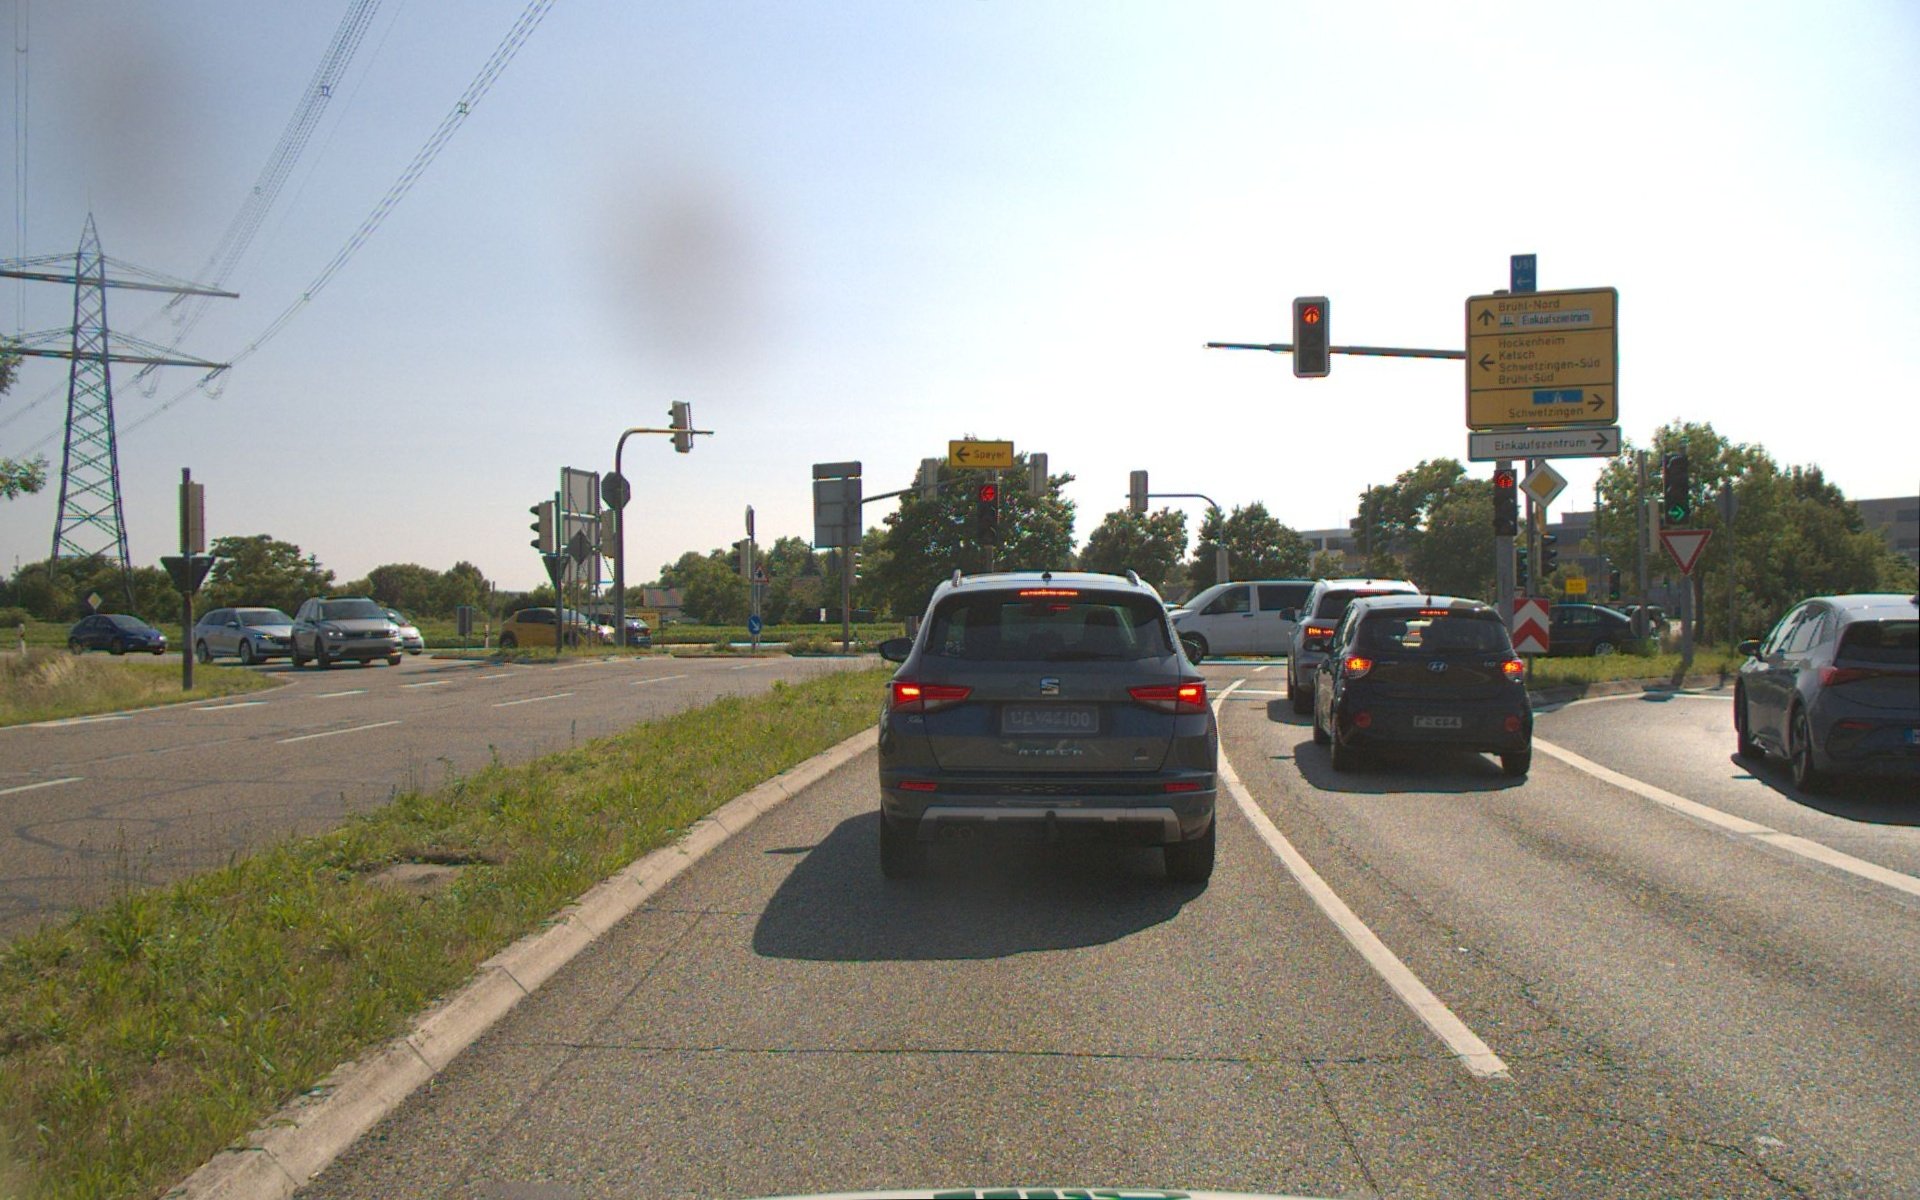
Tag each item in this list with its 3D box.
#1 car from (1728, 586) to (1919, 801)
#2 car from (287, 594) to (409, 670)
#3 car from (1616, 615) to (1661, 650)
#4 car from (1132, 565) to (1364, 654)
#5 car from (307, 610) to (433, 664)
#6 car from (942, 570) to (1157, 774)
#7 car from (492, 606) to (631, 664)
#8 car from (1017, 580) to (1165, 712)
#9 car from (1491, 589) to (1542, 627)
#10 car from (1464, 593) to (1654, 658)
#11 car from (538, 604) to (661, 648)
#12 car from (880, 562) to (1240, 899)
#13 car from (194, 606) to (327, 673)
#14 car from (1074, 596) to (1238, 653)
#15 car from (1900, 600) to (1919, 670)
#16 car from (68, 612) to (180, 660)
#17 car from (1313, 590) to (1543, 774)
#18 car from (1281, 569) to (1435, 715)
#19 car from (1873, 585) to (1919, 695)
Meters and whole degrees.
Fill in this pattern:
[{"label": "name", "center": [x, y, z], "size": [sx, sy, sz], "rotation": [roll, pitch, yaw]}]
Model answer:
[{"label": "car", "center": [7.832, 0.676, 14.063], "size": [1.735, 1.544, 4.102], "rotation": [1, 1, 16]}, {"label": "car", "center": [-14.527, 0.733, 39.156], "size": [1.799, 1.680, 3.951], "rotation": [0, 0, -35]}, {"label": "car", "center": [34.766, 1.661, 84.710], "size": [1.840, 1.702, 3.766], "rotation": [1, 0, 27]}, {"label": "car", "center": [6.544, 0.212, 37.787], "size": [4.840, 1.951, 1.996], "rotation": [1, 1, -9]}, {"label": "car", "center": [-19.427, 1.201, 54.430], "size": [3.912, 1.680, 1.817], "rotation": [-1, 0, 30]}, {"label": "car", "center": [0.794, 0.582, 15.114], "size": [1.706, 1.596, 3.625], "rotation": [1, 0, 2]}, {"label": "car", "center": [-12.022, 1.048, 49.872], "size": [3.912, 1.680, 1.817], "rotation": [-1, 0, 30]}, {"label": "car", "center": [1.746, 0.549, 21.220], "size": [1.705, 1.510, 3.627], "rotation": [1, 0, 7]}, {"label": "car", "center": [27.783, 0.417, 82.471], "size": [1.684, 1.851, 3.770], "rotation": [1, 0, 30]}, {"label": "car", "center": [14.919, 0.629, 41.225], "size": [4.238, 1.545, 1.805], "rotation": [-1, 0, 28]}, {"label": "car", "center": [-12.408, 0.884, 56.871], "size": [4.012, 1.441, 1.714], "rotation": [0, 0, 28]}, {"label": "car", "center": [0.519, 0.618, 9.673], "size": [1.706, 1.596, 3.625], "rotation": [0, 0, 1]}, {"label": "car", "center": [-18.708, 1.032, 44.200], "size": [3.929, 1.680, 1.809], "rotation": [-1, 0, 42]}, {"label": "car", "center": [5.521, 0.688, 46.619], "size": [4.238, 1.545, 1.805], "rotation": [-1, 0, 28]}, {"label": "car", "center": [23.054, 0.761, 36.640], "size": [3.793, 1.545, 1.805], "rotation": [-1, 0, 28]}, {"label": "car", "center": [-30.778, 1.318, 60.888], "size": [3.912, 1.680, 1.817], "rotation": [-1, 0, 30]}, {"label": "car", "center": [4.165, 0.657, 15.159], "size": [1.598, 1.473, 3.297], "rotation": [1, 0, 8]}, {"label": "car", "center": [5.093, 0.496, 21.535], "size": [1.598, 1.706, 3.752], "rotation": [1, 0, 8]}, {"label": "car", "center": [14.172, 0.488, 22.285], "size": [3.950, 1.410, 1.628], "rotation": [-1, 1, -33]}]
